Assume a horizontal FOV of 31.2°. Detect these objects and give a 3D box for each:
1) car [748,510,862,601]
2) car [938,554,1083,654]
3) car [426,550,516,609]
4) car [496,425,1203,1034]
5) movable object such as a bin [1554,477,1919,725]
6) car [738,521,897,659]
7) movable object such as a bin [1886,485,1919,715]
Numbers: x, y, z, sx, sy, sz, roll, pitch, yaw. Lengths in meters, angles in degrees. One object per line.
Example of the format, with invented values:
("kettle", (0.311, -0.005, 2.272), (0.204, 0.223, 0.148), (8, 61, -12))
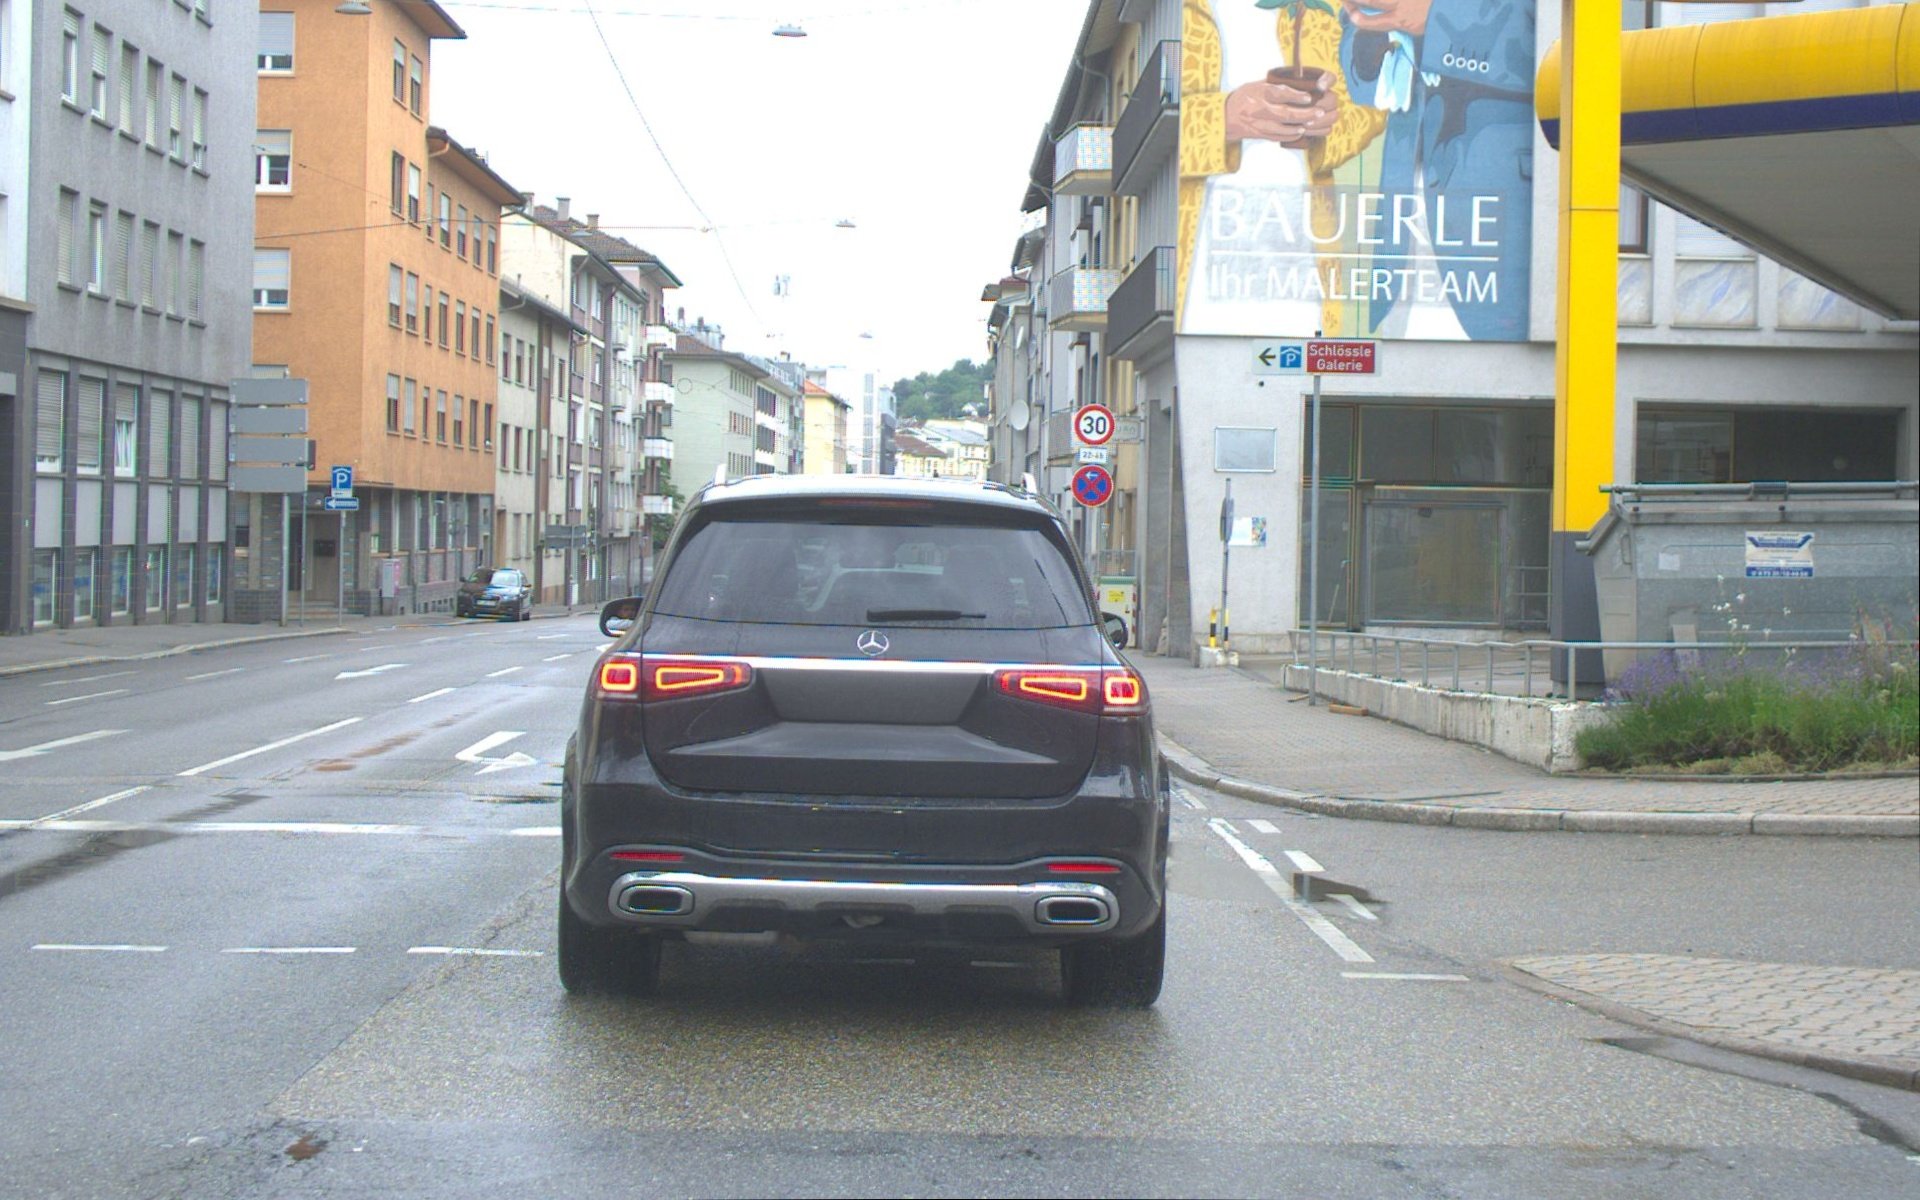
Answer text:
("car", (-3.073, -0.900, 68.782), (2.076, 1.644, 4.295), (3, 1, -1))
("car", (0.744, 0.028, 54.119), (1.893, 1.398, 4.609), (-3, 1, -3))
("car", (-13.137, -0.581, 92.564), (1.891, 1.453, 4.550), (3, 1, -3))
("car", (-0.381, 0.360, 12.847), (2.076, 1.759, 4.611), (3, 1, -1))
("movable object such as a bin", (5.241, -0.005, 23.097), (2.155, 1.569, 1.773), (1, 1, 0))
("car", (-1.983, -0.175, 49.117), (2.076, 1.759, 4.611), (3, 1, -1))
("movable object such as a bin", (7.542, 0.004, 23.098), (2.155, 1.550, 1.773), (0, 1, 0))
